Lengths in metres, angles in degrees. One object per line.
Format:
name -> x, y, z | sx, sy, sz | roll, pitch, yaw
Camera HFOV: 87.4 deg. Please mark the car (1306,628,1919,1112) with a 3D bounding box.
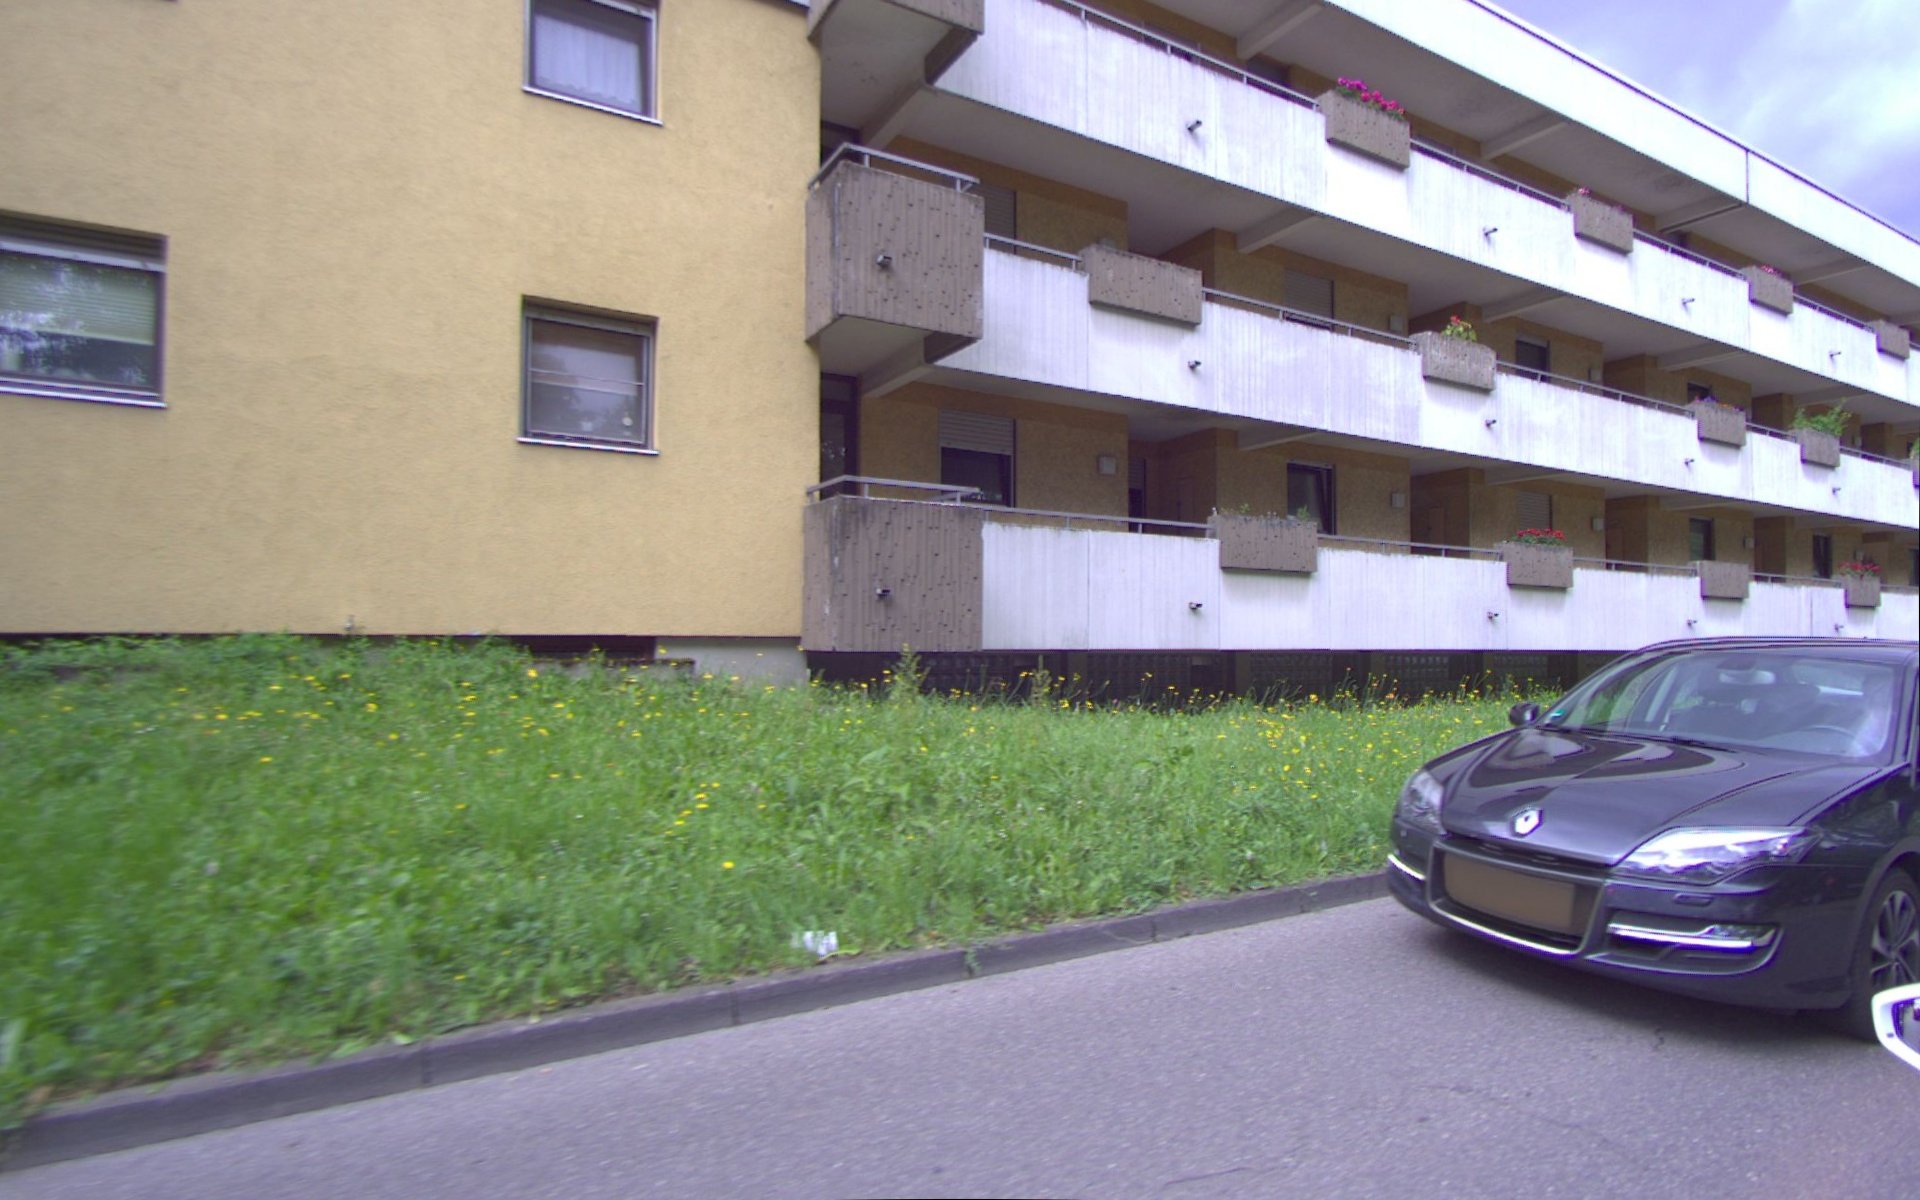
car -> 3.957, 0.877, 4.969 | 4.373, 1.430, 1.904 | 1, -1, -31
